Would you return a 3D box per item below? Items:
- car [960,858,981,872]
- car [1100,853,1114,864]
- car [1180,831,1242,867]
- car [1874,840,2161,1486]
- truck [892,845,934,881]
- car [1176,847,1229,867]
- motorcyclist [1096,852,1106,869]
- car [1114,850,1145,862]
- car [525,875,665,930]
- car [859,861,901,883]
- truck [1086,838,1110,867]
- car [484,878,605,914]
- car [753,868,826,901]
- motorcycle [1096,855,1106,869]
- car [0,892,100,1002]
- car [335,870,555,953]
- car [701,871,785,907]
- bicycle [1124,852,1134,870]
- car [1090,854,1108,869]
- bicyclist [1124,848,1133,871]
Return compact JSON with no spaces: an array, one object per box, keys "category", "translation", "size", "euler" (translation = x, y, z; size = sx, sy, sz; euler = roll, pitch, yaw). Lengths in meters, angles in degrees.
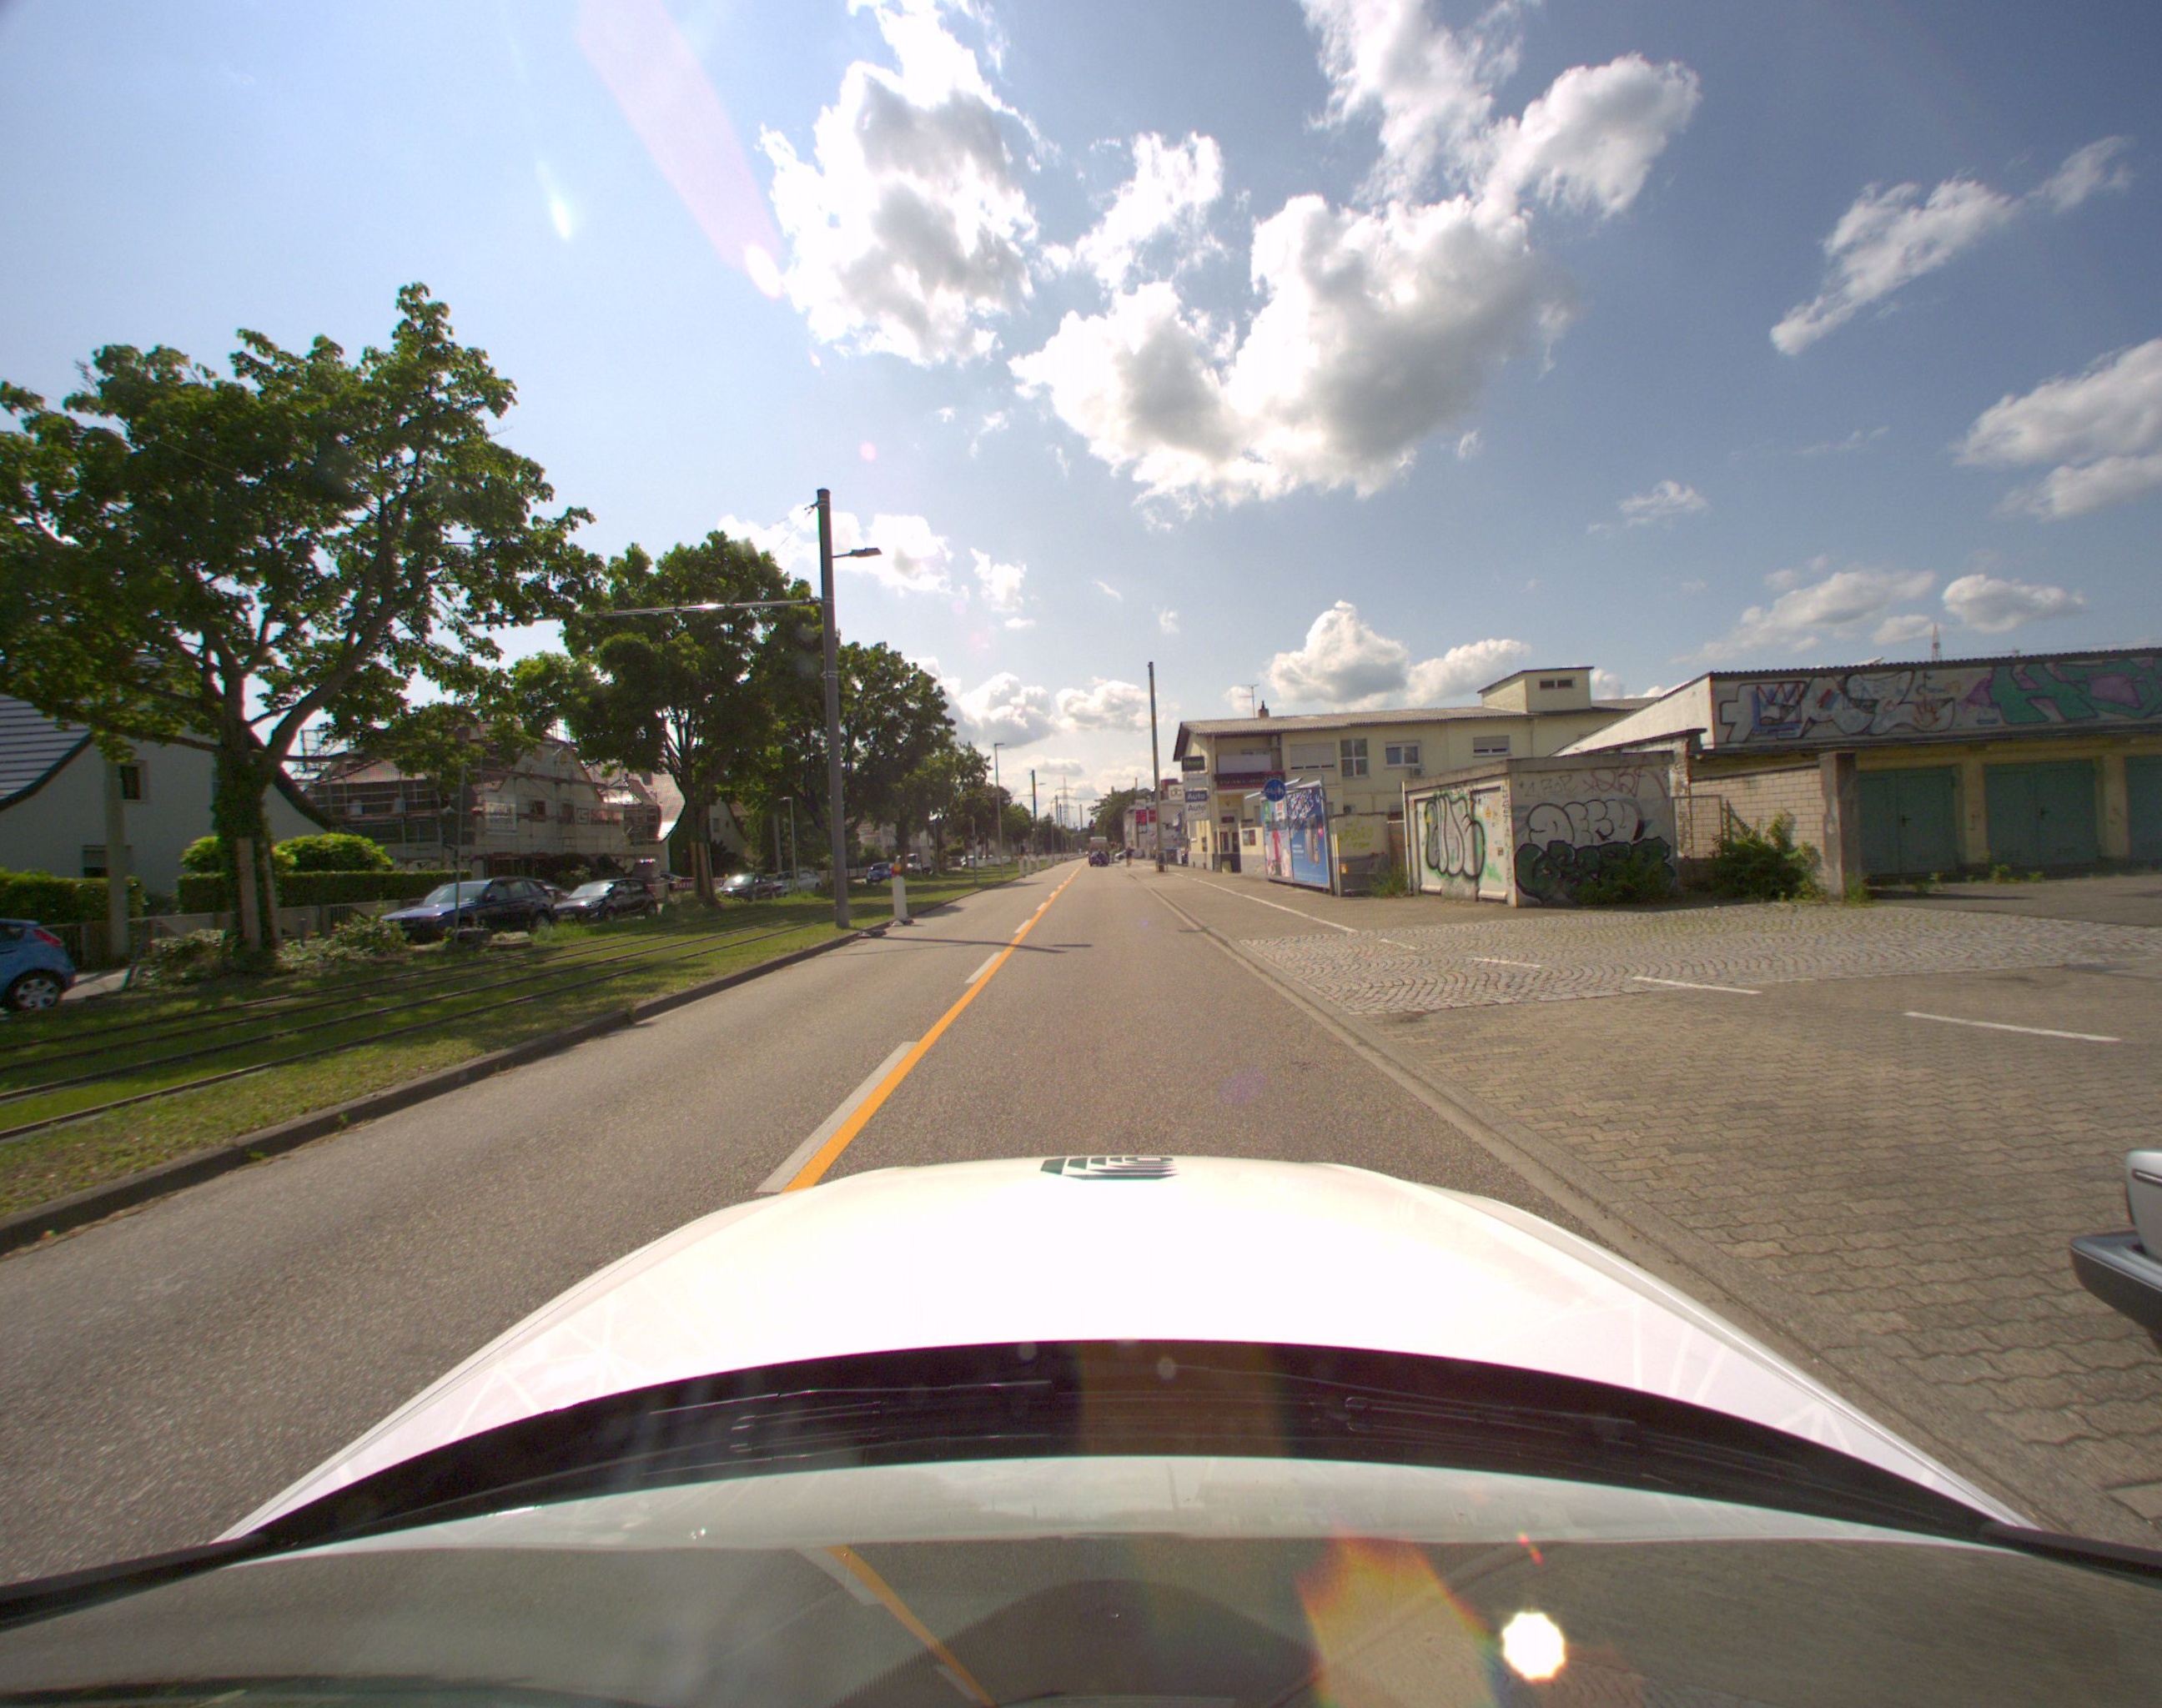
[{"category":"car","translation":[-14.123,1.407,104.483],"size":[1.986,1.750,4.001],"euler":[-3,-1,1]},{"category":"car","translation":[3.543,0.613,112.369],"size":[1.815,1.464,4.001],"euler":[-2,0,2]},{"category":"car","translation":[10.125,-0.372,63.869],"size":[4.519,2.573,2.152],"euler":[-3,-1,2]},{"category":"car","translation":[3.169,0.649,0.372],"size":[1.645,1.431,4.098],"euler":[-3,-1,2]},{"category":"truck","translation":[-14.497,0.720,70.672],"size":[1.987,2.767,6.277],"euler":[-5,0,1]},{"category":"car","translation":[9.952,0.260,66.717],"size":[4.160,1.431,1.824],"euler":[-3,-1,8]},{"category":"motorcyclist","translation":[1.906,0.645,78.527],"size":[0.936,1.615,1.205],"euler":[0,-1,1]},{"category":"car","translation":[7.183,0.343,120.588],"size":[4.327,1.551,1.945],"euler":[-3,-1,-7]},{"category":"car","translation":[-15.541,1.505,26.311],"size":[1.987,1.439,4.000],"euler":[-4,-1,1]},{"category":"car","translation":[-14.676,1.306,59.626],"size":[1.988,1.453,3.998],"euler":[-3,-1,-1]},{"category":"truck","translation":[2.107,-0.279,99.171],"size":[2.600,3.255,9.186],"euler":[-3,1,2]},{"category":"car","translation":[-23.548,1.819,35.858],"size":[3.973,1.401,1.982],"euler":[-2,-1,1]},{"category":"car","translation":[-14.970,1.518,42.156],"size":[1.798,1.482,4.941],"euler":[-3,-1,1]},{"category":"motorcycle","translation":[1.908,0.800,78.706],"size":[0.936,1.320,2.645],"euler":[0,0,1]},{"category":"car","translation":[-15.447,1.303,10.083],"size":[1.747,1.436,3.892],"euler":[-3,-1,3]},{"category":"car","translation":[-15.376,1.306,20.067],"size":[1.989,1.691,4.388],"euler":[-3,-1,-2]},{"category":"car","translation":[-15.067,1.523,36.503],"size":[1.987,1.317,3.853],"euler":[-5,-1,1]},{"category":"bicycle","translation":[3.832,0.568,65.080],"size":[0.690,1.361,2.419],"euler":[-3,0,1]},{"category":"car","translation":[1.827,0.763,82.976],"size":[1.815,1.424,4.001],"euler":[-2,0,1]},{"category":"bicyclist","translation":[3.787,0.434,65.162],"size":[0.669,1.744,0.813],"euler":[-2,0,0]}]
